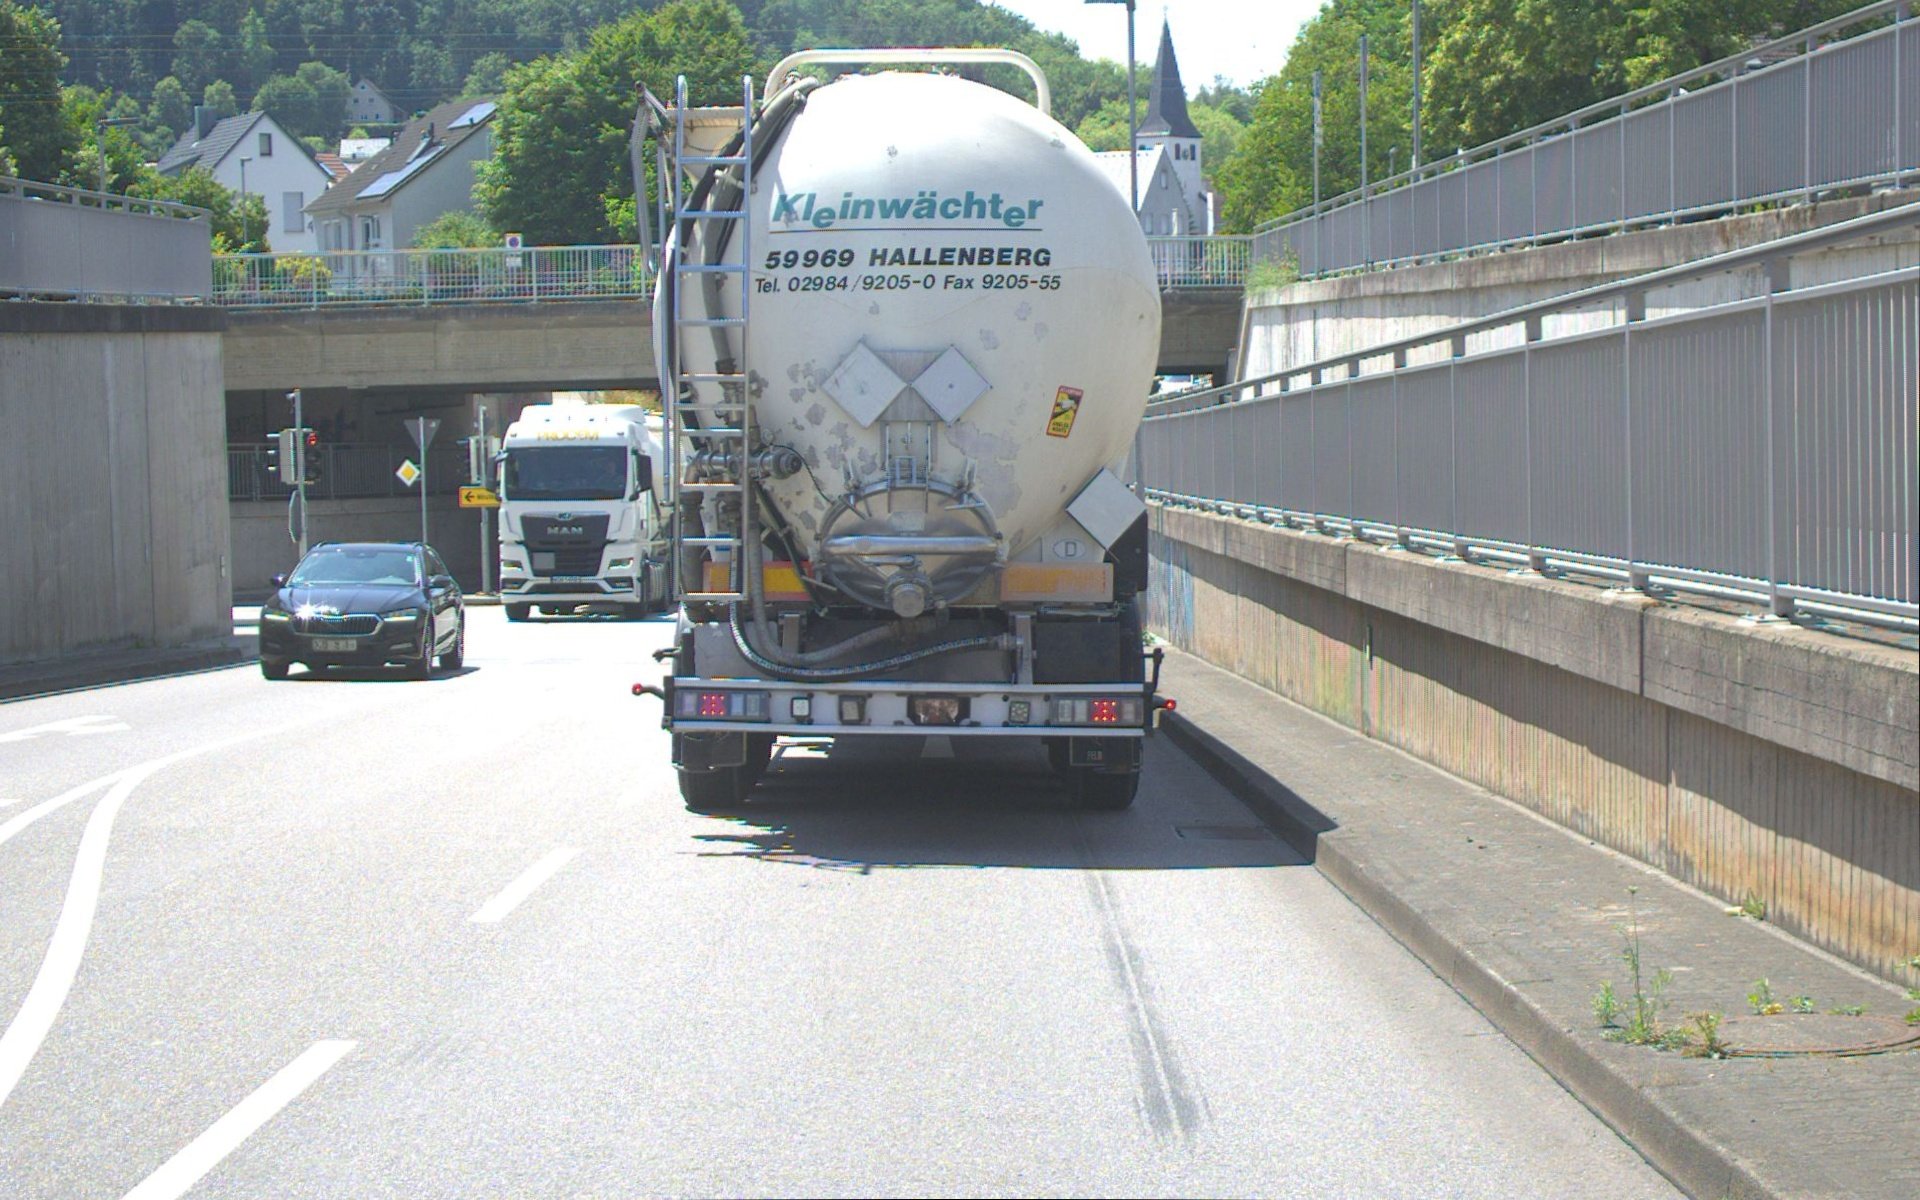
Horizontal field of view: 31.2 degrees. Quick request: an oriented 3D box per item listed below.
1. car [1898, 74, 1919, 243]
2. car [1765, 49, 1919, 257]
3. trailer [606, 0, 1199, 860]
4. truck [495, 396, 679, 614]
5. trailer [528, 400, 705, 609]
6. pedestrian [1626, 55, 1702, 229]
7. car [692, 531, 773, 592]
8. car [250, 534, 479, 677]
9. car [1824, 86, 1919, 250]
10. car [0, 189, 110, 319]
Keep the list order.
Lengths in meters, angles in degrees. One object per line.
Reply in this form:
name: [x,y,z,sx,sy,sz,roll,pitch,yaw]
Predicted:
car: [9.871,-3.675,28.182,3.906,1.362,1.686,-1,4,1]
car: [9.880,-4.295,33.043,3.906,1.878,1.686,-1,4,1]
trailer: [-0.199,-0.952,22.583,2.735,4.050,13.313,0,1,1]
truck: [-6.875,-1.733,64.124,2.662,3.847,6.580,0,1,0]
trailer: [-6.851,-1.893,69.772,2.610,3.950,9.346,0,1,0]
pedestrian: [7.420,-4.824,36.249,0.673,1.773,0.594,-1,4,2]
car: [-5.664,-0.976,86.013,1.682,1.435,4.094,2,1,1]
car: [-6.521,0.017,38.066,1.760,1.484,4.369,0,1,0]
car: [9.856,-3.859,30.618,3.906,1.362,1.686,-1,4,1]
car: [-11.830,-4.260,42.608,1.618,1.495,4.045,1,4,-1]
